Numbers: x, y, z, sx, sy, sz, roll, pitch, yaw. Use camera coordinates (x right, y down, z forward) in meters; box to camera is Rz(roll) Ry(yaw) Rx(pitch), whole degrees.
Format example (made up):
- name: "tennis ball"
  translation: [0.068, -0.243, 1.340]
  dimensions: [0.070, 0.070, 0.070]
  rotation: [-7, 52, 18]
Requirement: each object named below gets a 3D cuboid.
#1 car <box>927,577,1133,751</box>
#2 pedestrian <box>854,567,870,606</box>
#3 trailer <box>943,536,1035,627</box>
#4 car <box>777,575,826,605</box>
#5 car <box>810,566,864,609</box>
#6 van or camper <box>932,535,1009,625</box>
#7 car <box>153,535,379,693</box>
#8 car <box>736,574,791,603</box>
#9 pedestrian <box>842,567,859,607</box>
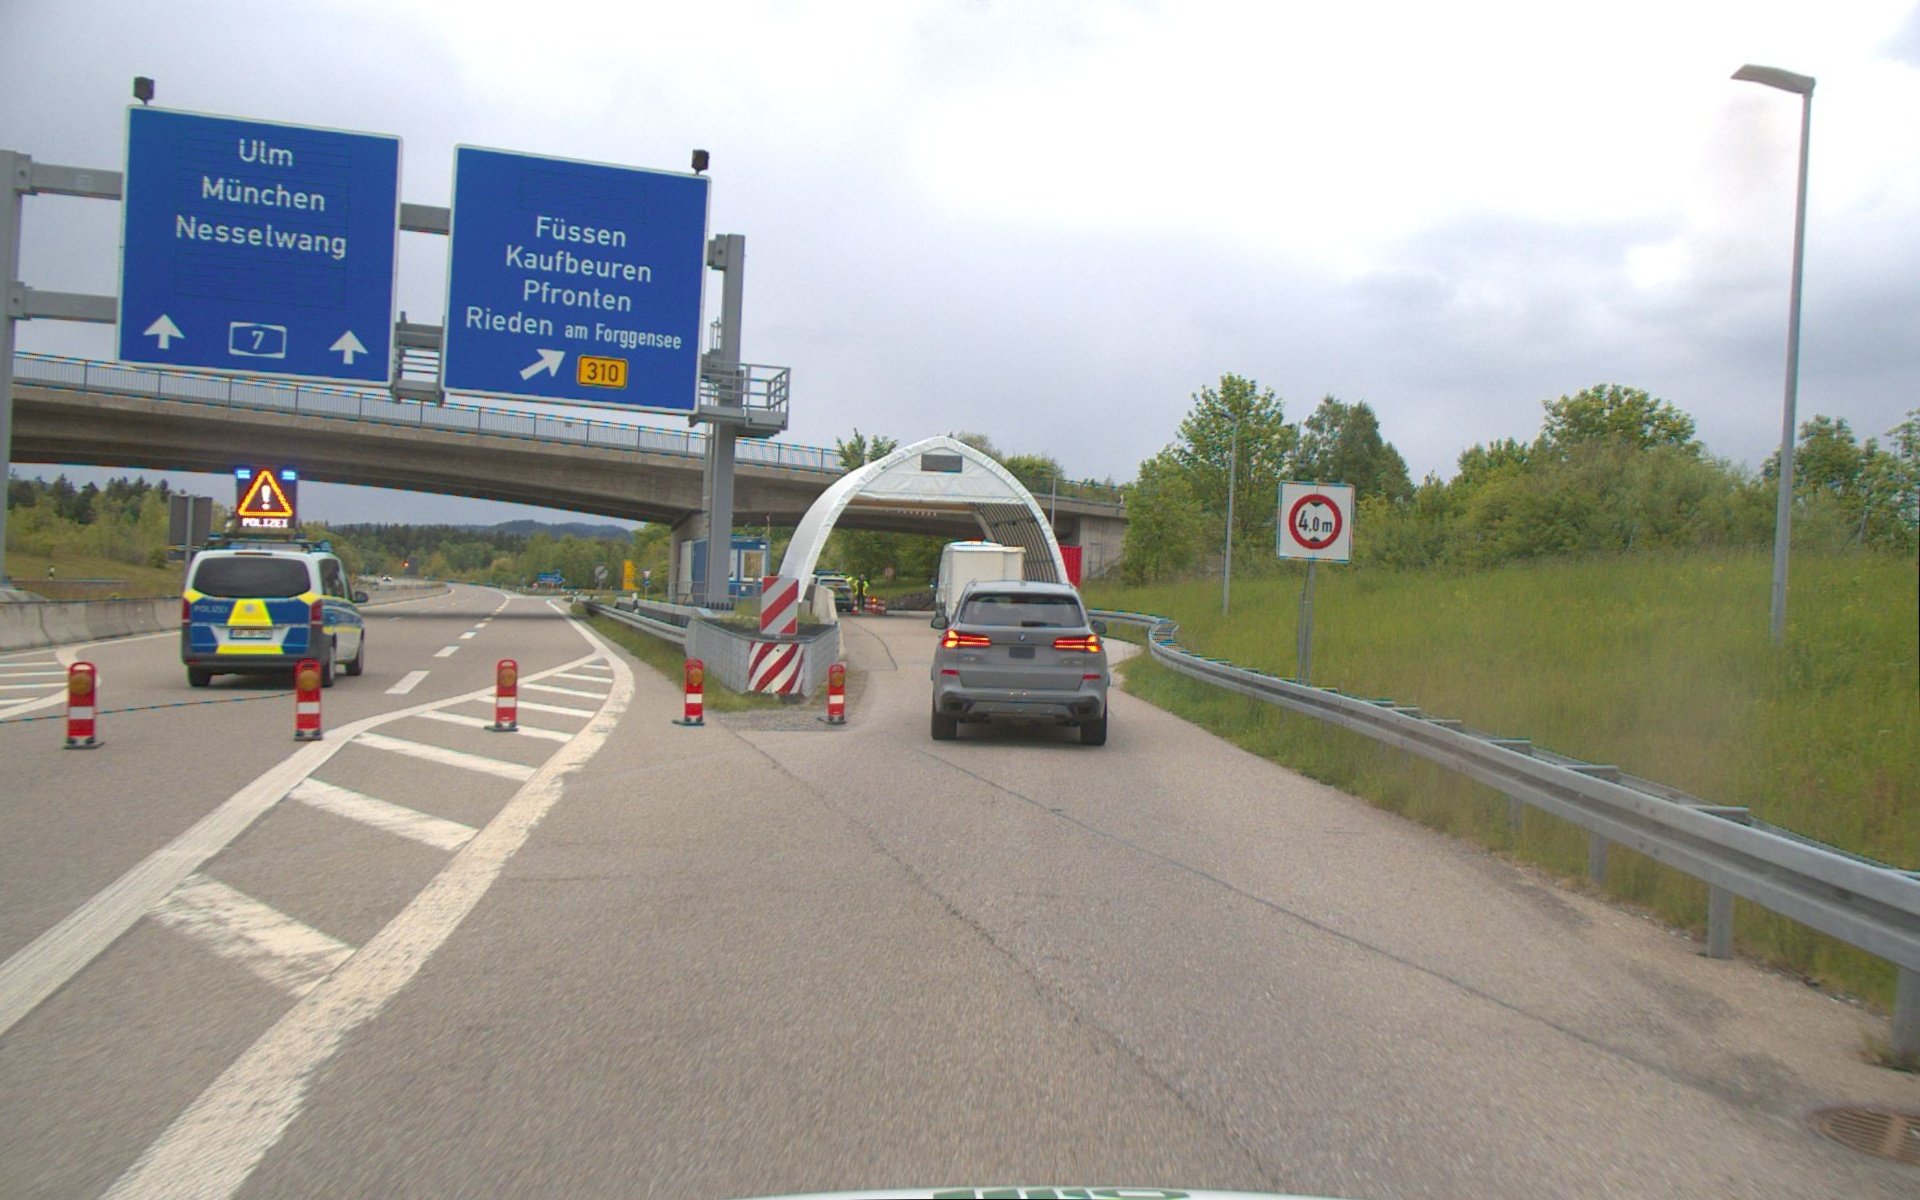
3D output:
- name: "car"
  translation: [0.929, 0.658, 19.185]
  dimensions: [1.951, 1.749, 4.003]
  rotation: [1, 0, 8]
- name: "pedestrian"
  translation: [-4.510, -0.629, 76.132]
  dimensions: [0.636, 1.806, 0.604]
  rotation: [1, 0, -12]
- name: "trailer"
  translation: [0.775, -0.493, 48.930]
  dimensions: [2.233, 2.473, 6.813]
  rotation: [1, 0, -3]
- name: "car"
  translation: [-10.952, -0.687, 113.984]
  dimensions: [1.972, 2.049, 3.961]
  rotation: [1, 0, -30]
- name: "car"
  translation: [-5.425, -0.546, 72.503]
  dimensions: [1.958, 1.803, 3.756]
  rotation: [1, 0, -11]
- name: "van or camper"
  translation: [0.272, -0.620, 55.255]
  dimensions: [2.114, 2.812, 5.866]
  rotation: [1, 0, -4]
- name: "car"
  translation: [-10.025, 0.156, 24.338]
  dimensions: [2.247, 2.049, 5.032]
  rotation: [1, 1, -14]
- name: "car"
  translation: [-10.445, -0.629, 87.799]
  dimensions: [1.503, 1.467, 3.274]
  rotation: [0, 1, -36]
- name: "pedestrian"
  translation: [-4.971, -0.579, 75.007]
  dimensions: [0.707, 1.806, 0.688]
  rotation: [1, 0, -10]
